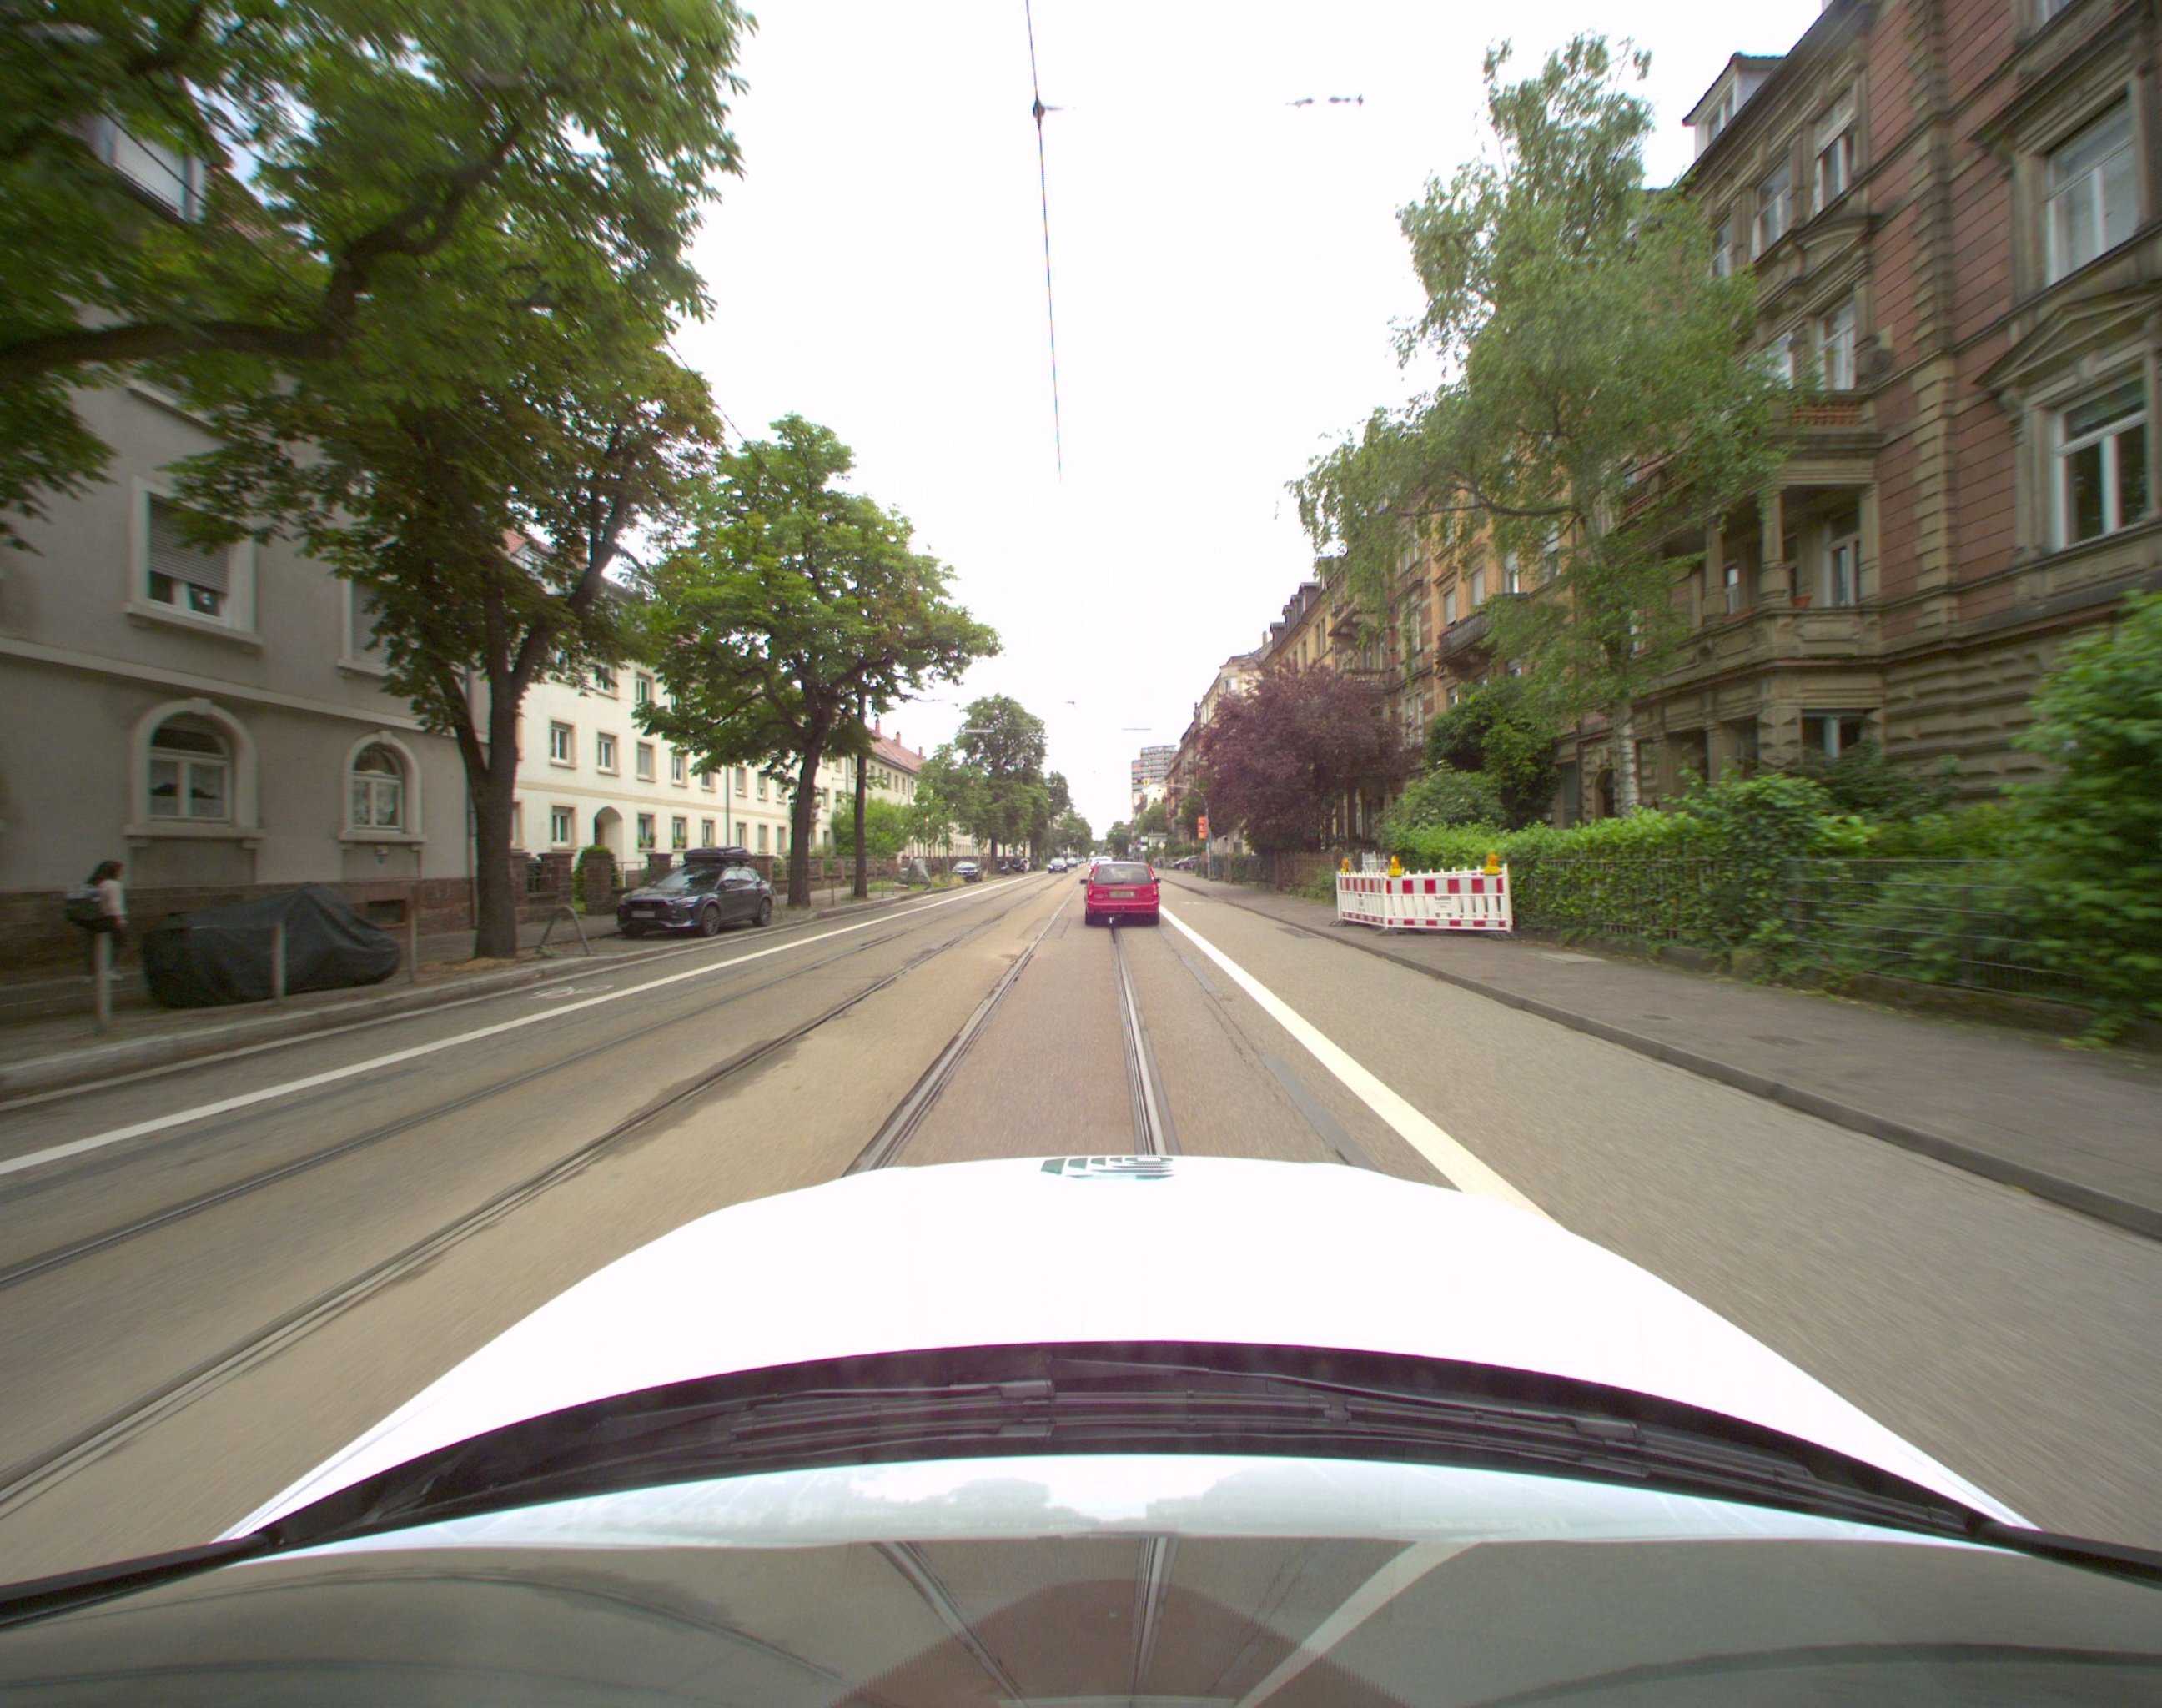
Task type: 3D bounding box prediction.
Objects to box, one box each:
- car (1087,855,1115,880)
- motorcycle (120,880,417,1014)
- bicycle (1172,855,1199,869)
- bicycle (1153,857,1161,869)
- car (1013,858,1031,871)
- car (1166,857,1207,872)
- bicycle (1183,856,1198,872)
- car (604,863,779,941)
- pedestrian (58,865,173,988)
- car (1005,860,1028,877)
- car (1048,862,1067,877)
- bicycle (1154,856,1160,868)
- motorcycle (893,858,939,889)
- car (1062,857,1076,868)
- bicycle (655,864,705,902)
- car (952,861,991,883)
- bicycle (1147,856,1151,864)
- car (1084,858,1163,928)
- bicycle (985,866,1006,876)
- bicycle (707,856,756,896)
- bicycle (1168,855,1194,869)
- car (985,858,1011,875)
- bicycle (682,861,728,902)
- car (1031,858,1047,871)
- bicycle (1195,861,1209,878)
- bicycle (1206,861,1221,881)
[{"bbox_3d":[1.385,0.904,55.475,1.711,1.625,3.944,0,0,3],"label":"car"},{"bbox_3d":[-9.305,0.983,9.517,0.857,1.288,2.331,0,0,14],"label":"motorcycle"},{"bbox_3d":[12.055,0.941,94.093,2.967,1.624,1.049,0,0,-1],"label":"bicycle"},{"bbox_3d":[8.627,1.046,92.392,0.705,1.300,1.905,-1,0,2],"label":"bicycle"},{"bbox_3d":[-6.933,1.233,96.717,1.707,1.580,4.001,1,0,2],"label":"car"},{"bbox_3d":[10.654,1.061,82.226,3.961,1.361,1.898,-1,0,11],"label":"car"},{"bbox_3d":[10.310,0.945,76.675,0.910,1.507,2.392,-1,0,18],"label":"bicycle"},{"bbox_3d":[-8.564,0.977,18.396,1.770,1.511,4.240,0,0,2],"label":"car"},{"bbox_3d":[-12.085,0.881,10.214,0.562,1.467,0.723,-1,0,1],"label":"pedestrian"},{"bbox_3d":[-6.287,1.397,80.091,1.844,1.563,3.944,0,0,1],"label":"car"},{"bbox_3d":[-2.256,1.491,79.539,1.749,1.380,4.026,-1,0,0],"label":"car"},{"bbox_3d":[8.921,0.972,95.840,0.549,1.400,1.734,-1,0,2],"label":"bicycle"},{"bbox_3d":[-8.140,0.975,40.155,2.243,1.511,0.932,-1,-2,36],"label":"motorcycle"},{"bbox_3d":[-1.720,1.233,120.062,1.887,1.611,4.501,0,0,1],"label":"car"},{"bbox_3d":[-14.402,1.028,29.330,0.745,1.298,2.140,-1,0,0],"label":"bicycle"},{"bbox_3d":[-7.377,1.213,55.332,1.883,1.398,4.419,0,-1,2],"label":"car"},{"bbox_3d":[9.710,0.791,115.825,0.488,1.099,1.734,-1,0,2],"label":"bicycle"},{"bbox_3d":[0.943,0.841,19.236,1.683,1.441,3.744,0,0,1],"label":"car"},{"bbox_3d":[-7.399,1.441,70.390,1.742,0.844,0.684,0,0,2],"label":"bicycle"},{"bbox_3d":[-12.729,0.774,29.729,0.790,1.382,2.142,-1,0,2],"label":"bicycle"},{"bbox_3d":[11.856,0.950,96.311,2.967,1.624,1.049,0,0,-1],"label":"bicycle"},{"bbox_3d":[-7.304,1.064,72.178,1.711,1.482,4.003,0,0,3],"label":"car"},{"bbox_3d":[-13.587,0.970,29.477,0.625,1.382,2.141,-1,0,1],"label":"bicycle"},{"bbox_3d":[-5.217,1.281,101.091,1.713,1.486,4.001,-1,0,1],"label":"car"},{"bbox_3d":[7.566,0.981,50.948,0.521,1.030,2.177,-1,0,1],"label":"bicycle"},{"bbox_3d":[7.461,0.956,45.982,0.521,1.099,2.177,-1,0,1],"label":"bicycle"}]
